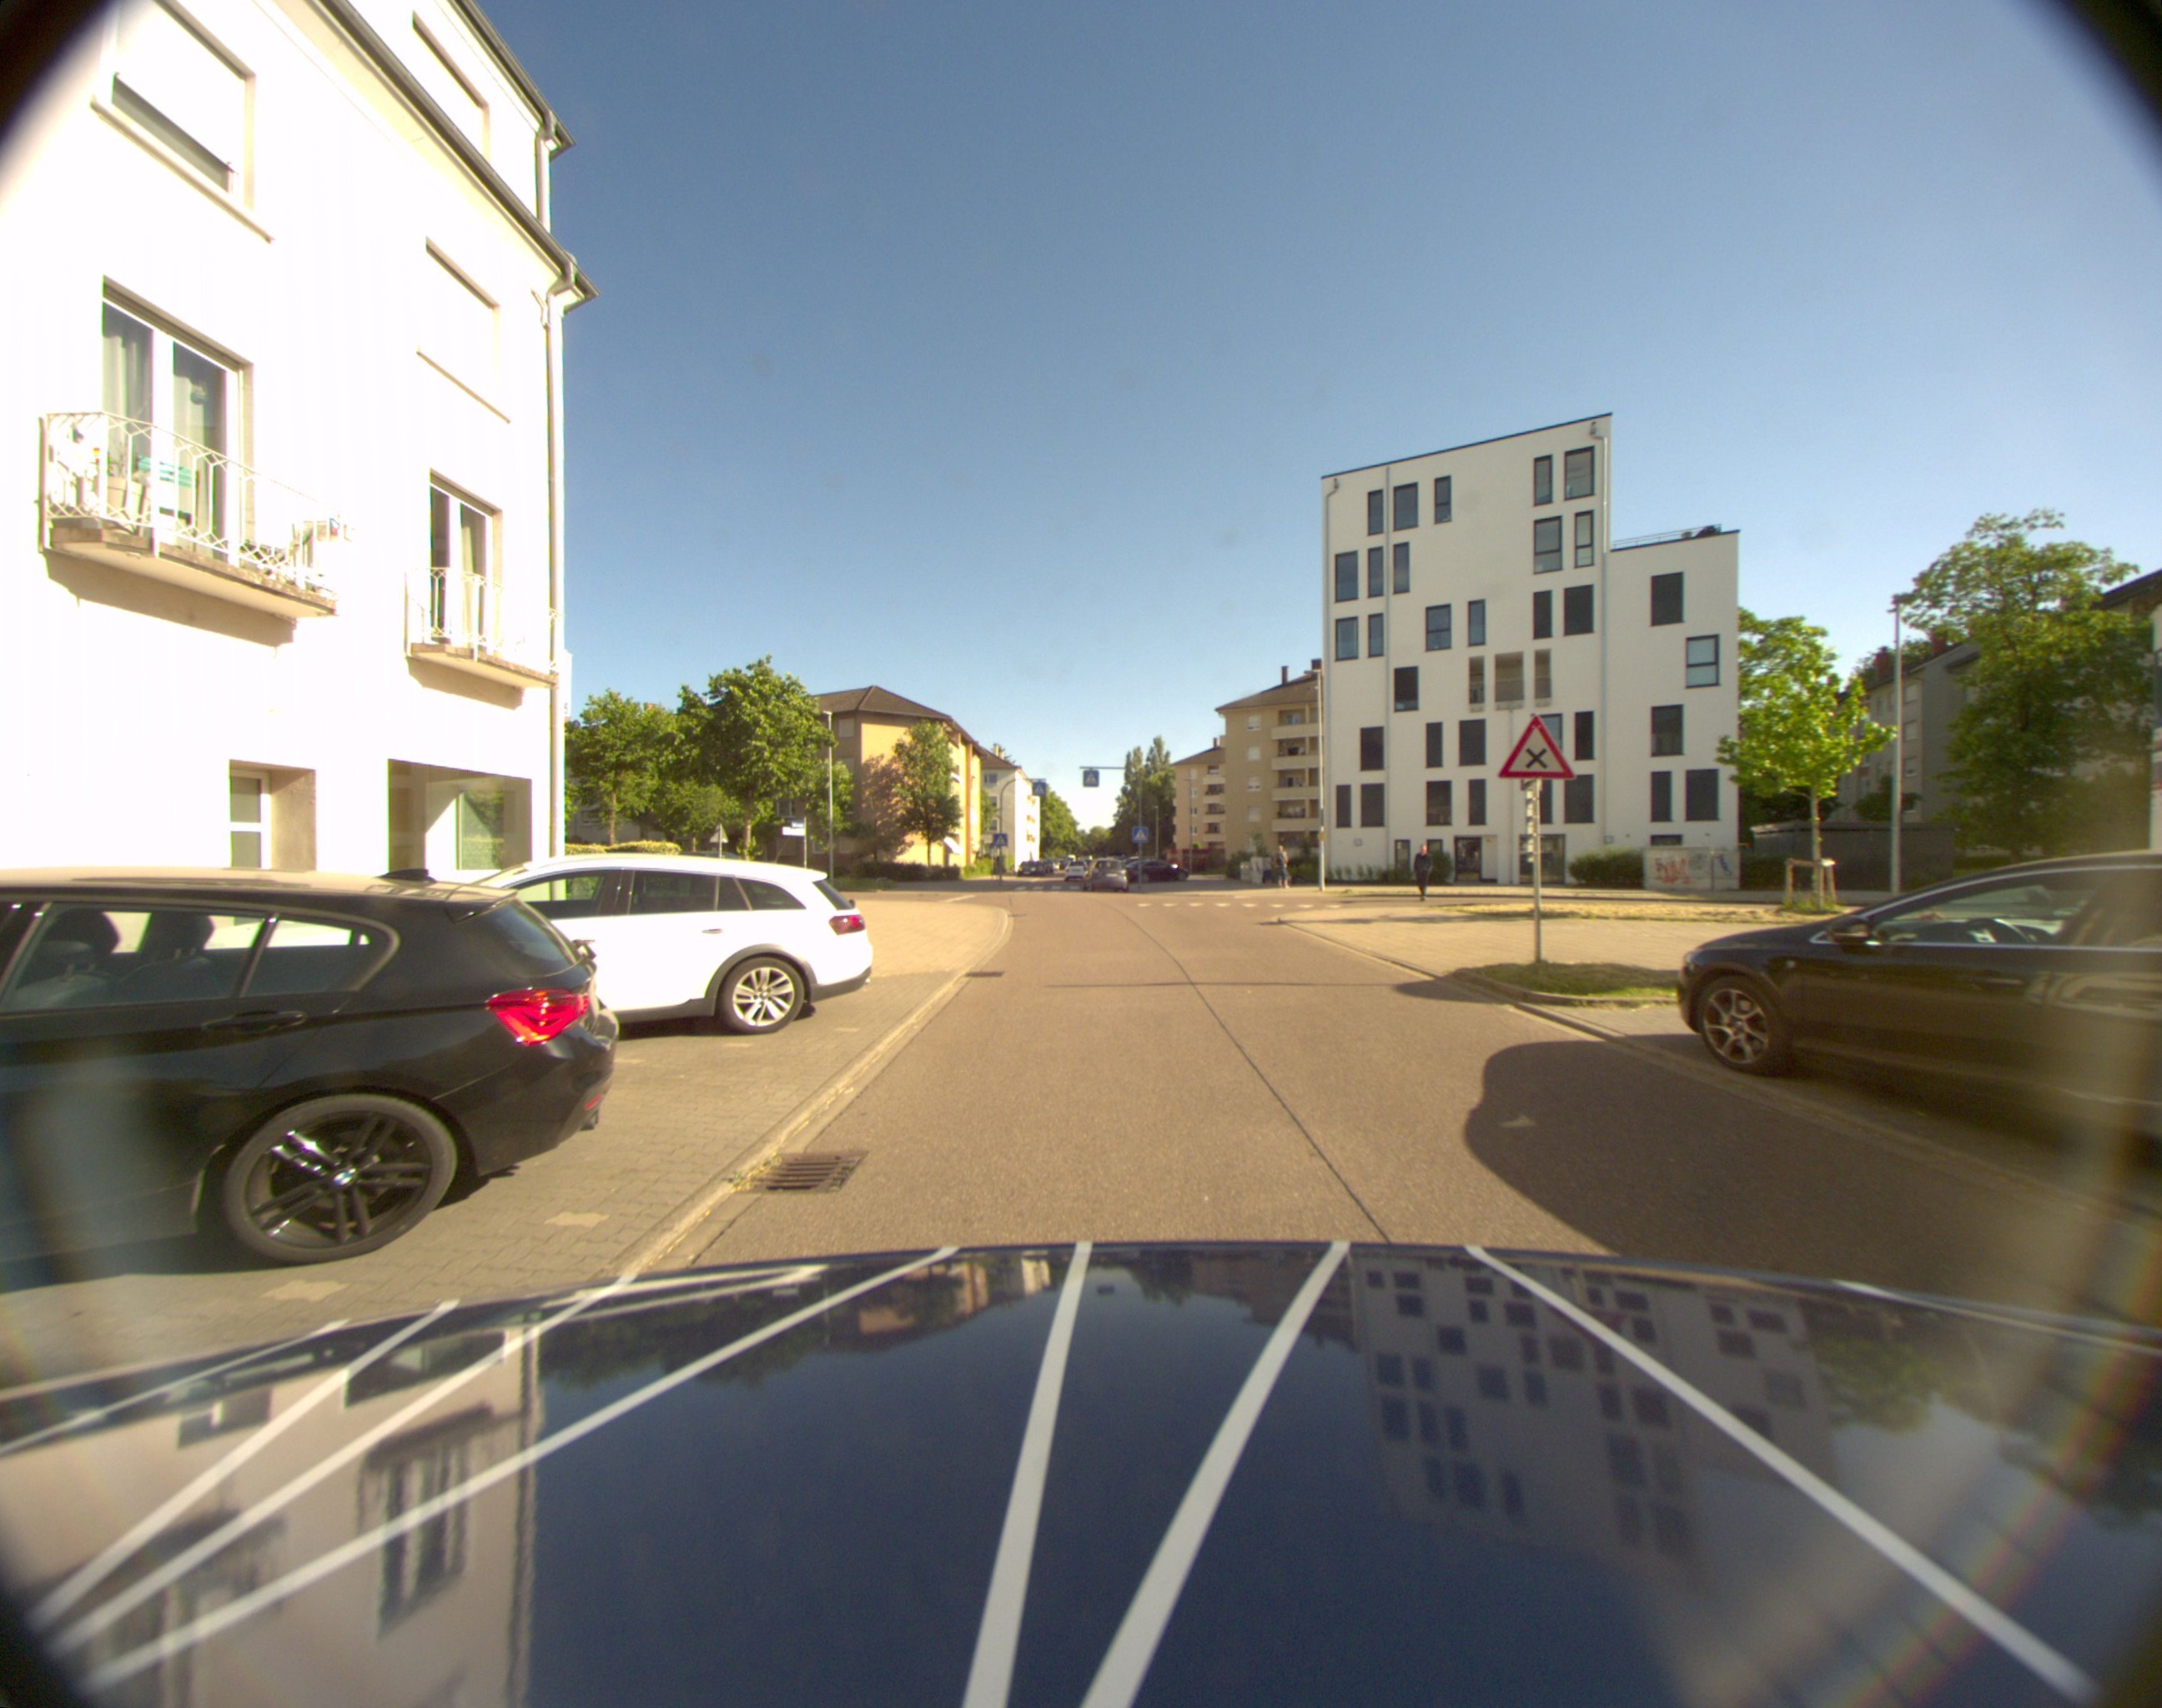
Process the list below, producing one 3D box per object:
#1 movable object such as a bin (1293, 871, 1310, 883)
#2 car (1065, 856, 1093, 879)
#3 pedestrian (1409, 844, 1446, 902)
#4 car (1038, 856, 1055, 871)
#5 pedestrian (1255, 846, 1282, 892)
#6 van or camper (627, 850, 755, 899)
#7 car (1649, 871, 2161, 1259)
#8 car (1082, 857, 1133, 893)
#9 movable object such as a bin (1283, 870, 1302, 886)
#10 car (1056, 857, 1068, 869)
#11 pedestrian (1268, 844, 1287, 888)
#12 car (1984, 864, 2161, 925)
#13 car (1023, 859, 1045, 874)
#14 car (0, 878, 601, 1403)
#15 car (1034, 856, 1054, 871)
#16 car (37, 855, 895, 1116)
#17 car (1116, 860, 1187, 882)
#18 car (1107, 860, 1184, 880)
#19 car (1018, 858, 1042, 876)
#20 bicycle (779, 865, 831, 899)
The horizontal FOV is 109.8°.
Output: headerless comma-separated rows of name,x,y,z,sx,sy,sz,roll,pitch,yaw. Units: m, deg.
movable object such as a bin,10.388,1.080,35.790,0.273,0.538,0.684,-1,1,-43
car,-0.121,0.962,56.006,1.890,1.496,4.637,0,1,2
pedestrian,10.284,0.551,22.586,0.977,1.704,0.875,0,0,23
car,-4.009,1.075,88.185,1.845,1.747,3.999,1,0,-2
pedestrian,8.911,0.703,36.120,0.776,2.108,0.957,-1,0,-20
van or camper,-16.466,0.789,32.034,5.372,1.852,1.999,1,3,27
car,4.996,0.830,3.356,1.793,1.402,4.223,-1,0,0
car,1.162,0.927,35.275,1.842,1.495,4.135,0,1,-5
movable object such as a bin,9.519,1.089,34.198,0.273,0.676,0.847,-1,2,-33
car,-3.066,1.464,124.454,1.999,1.685,3.998,0,1,-1
pedestrian,8.474,0.512,32.747,0.789,1.874,0.847,0,3,16
car,27.237,1.050,20.062,3.990,1.412,1.675,1,2,24
car,-4.442,1.146,71.937,1.999,1.237,3.997,0,2,-3
car,-4.256,0.926,2.797,4.179,1.489,1.818,0,2,-33
car,-3.987,1.030,82.905,1.999,1.456,3.999,-1,0,-1
car,-4.301,0.837,6.414,4.884,1.455,1.968,3,-2,-34
car,4.894,1.168,52.563,4.571,1.422,1.996,0,-1,-28
car,4.209,1.038,49.450,4.570,1.160,1.996,-1,0,-28
car,-4.468,1.096,66.611,1.909,1.506,3.998,1,0,-6
bicycle,-10.359,1.031,28.533,2.025,1.187,0.530,1,1,23
